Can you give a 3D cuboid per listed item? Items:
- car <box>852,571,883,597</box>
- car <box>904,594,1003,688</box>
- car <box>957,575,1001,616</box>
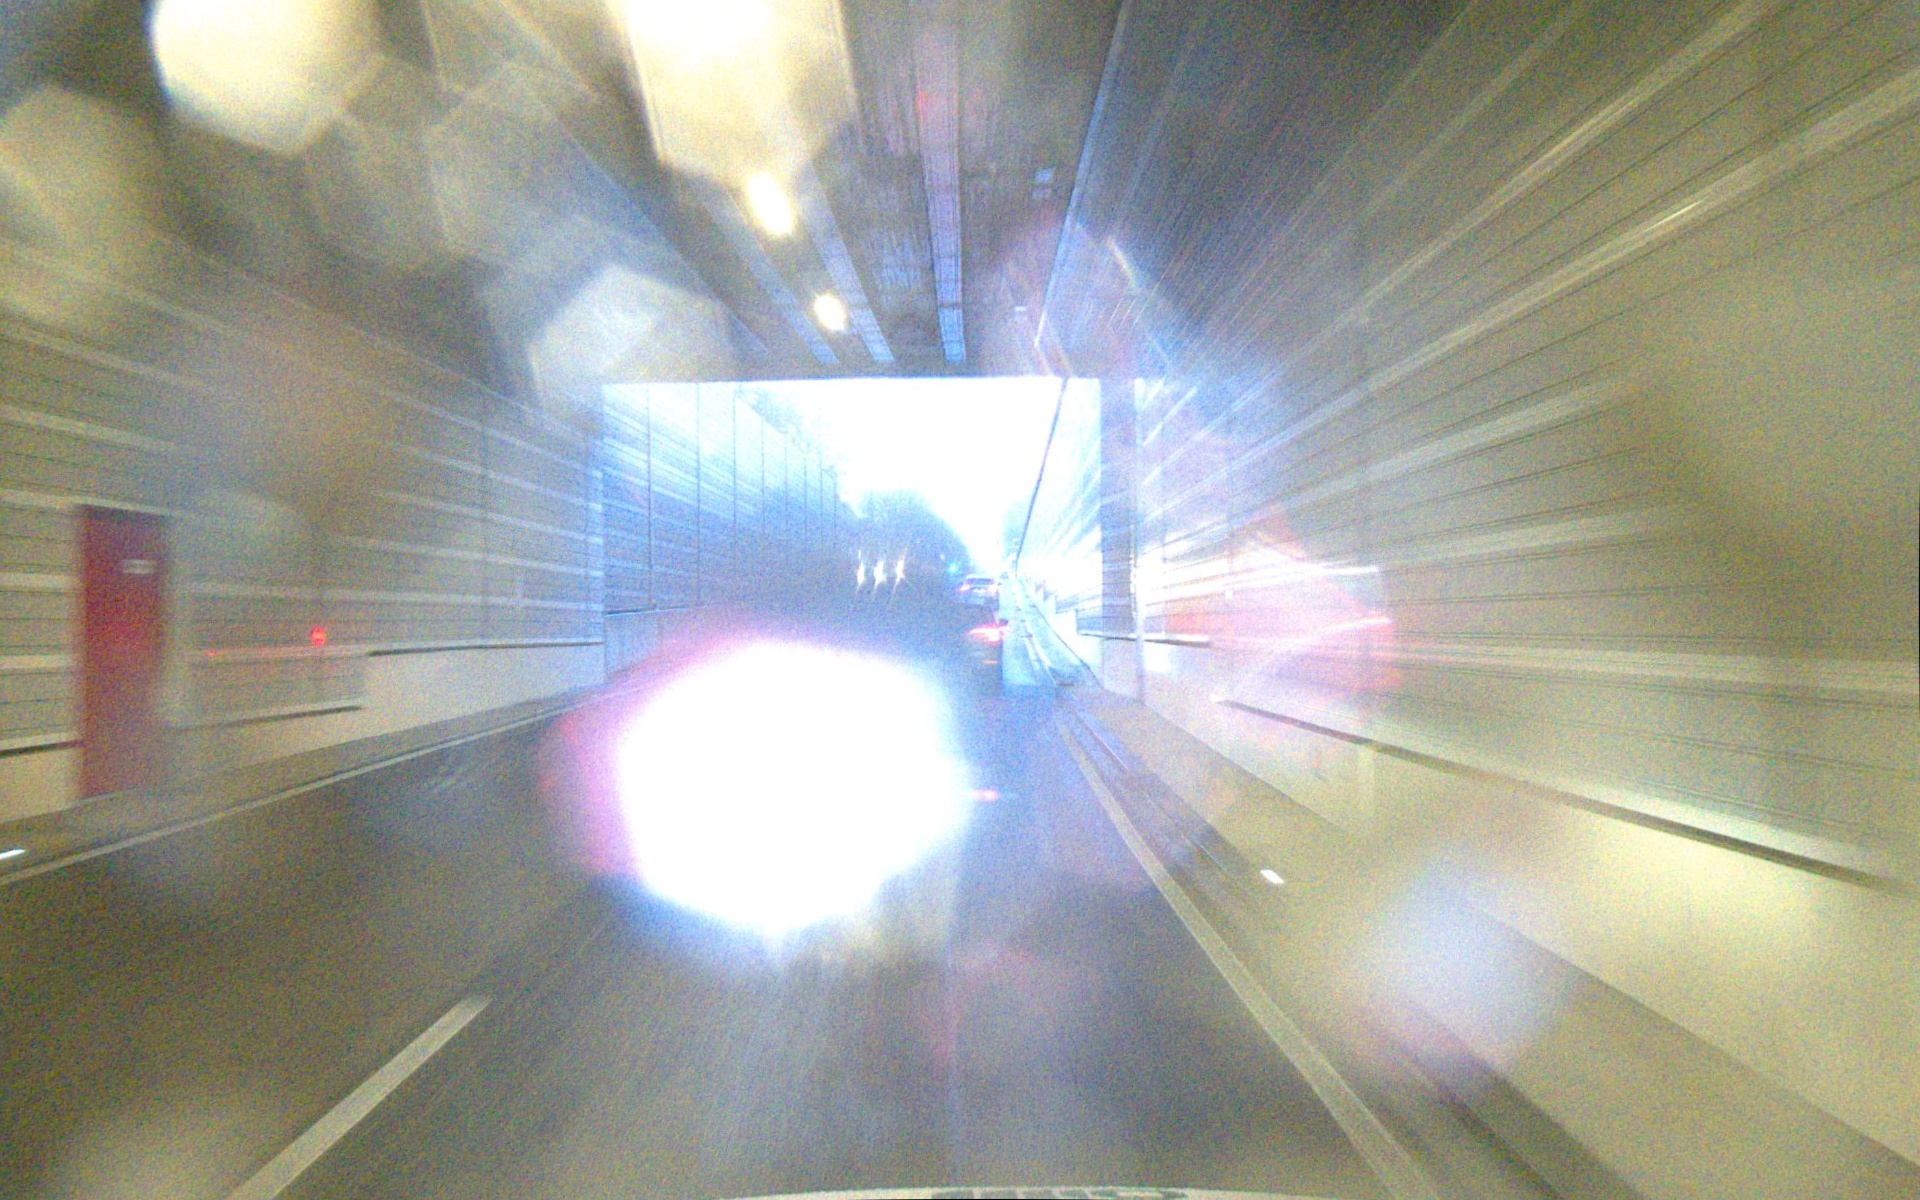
[{"bbox_3d":[-6.571,-1.124,117.837,1.841,1.649,4.000,2,-2,1],"label":"car"},{"bbox_3d":[-0.073,0.667,27.820,1.500,1.422,3.434,2,0,1],"label":"car"},{"bbox_3d":[0.830,-0.186,74.805,1.842,1.649,3.999,3,-2,-1],"label":"car"}]
